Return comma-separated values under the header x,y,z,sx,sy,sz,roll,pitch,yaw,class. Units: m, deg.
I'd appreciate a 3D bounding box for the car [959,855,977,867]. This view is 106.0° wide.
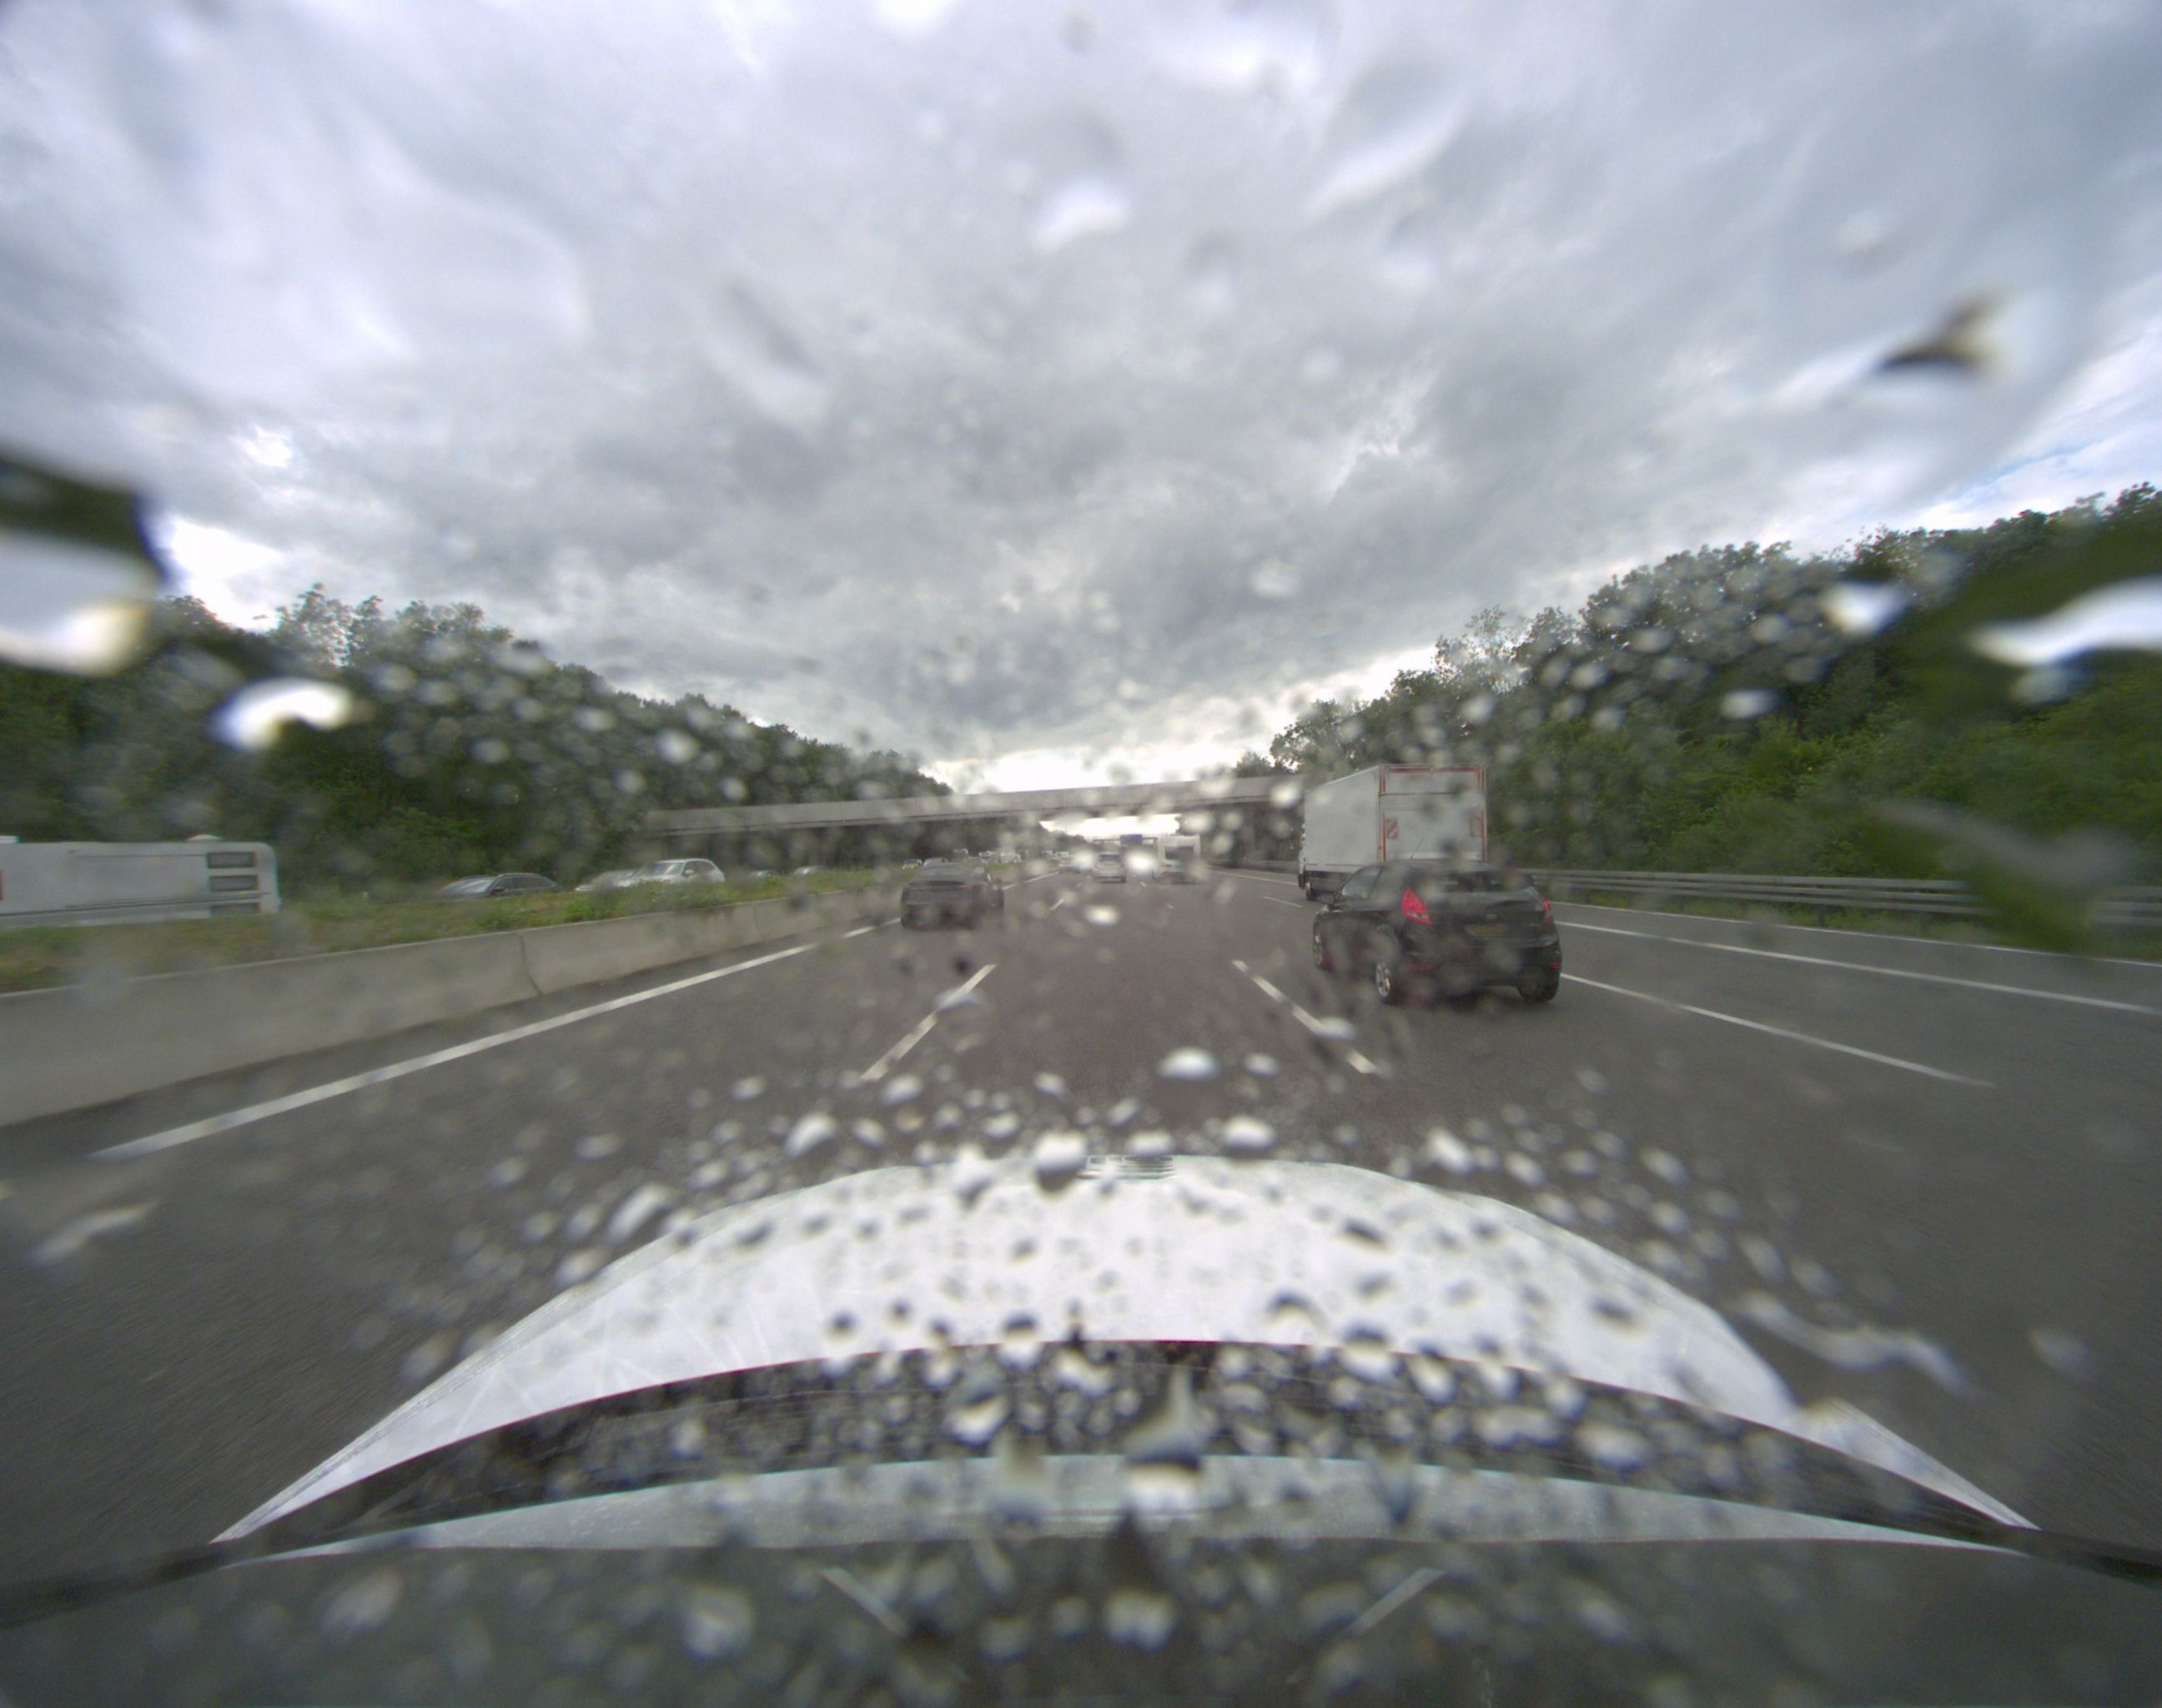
x,y,z,sx,sy,sz,roll,pitch,yaw,class
-18.739,1.159,135.033,2.212,1.952,4.830,-1,0,2,car

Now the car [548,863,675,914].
x,y,z,sx,sy,sz,roll,pitch,yaw,class
-20.273,1.429,35.463,2.596,1.952,4.830,-1,0,2,car

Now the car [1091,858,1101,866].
x,y,z,sx,sy,sz,roll,pitch,yaw,class
2.825,1.446,150.338,1.774,1.481,4.354,-1,0,1,car

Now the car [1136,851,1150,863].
x,y,z,sx,sy,sz,roll,pitch,yaw,class
10.491,0.508,138.480,2.036,1.823,4.906,-1,0,2,car

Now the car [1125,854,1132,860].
x,y,z,sx,sy,sz,roll,pitch,yaw,class
14.279,0.949,243.045,2.035,1.823,4.907,-1,0,3,car

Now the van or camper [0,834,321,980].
x,y,z,sx,sy,sz,roll,pitch,yaw,class
-21.208,0.996,17.134,2.595,2.707,8.128,-1,0,2,van or camper

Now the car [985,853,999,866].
x,y,z,sx,sy,sz,roll,pitch,yaw,class
-14.942,0.891,136.946,1.987,2.013,4.000,-1,0,0,car

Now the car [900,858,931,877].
x,y,z,sx,sy,sz,roll,pitch,yaw,class
-18.077,1.430,89.068,2.212,1.952,4.830,-1,0,2,car

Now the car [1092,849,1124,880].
x,y,z,sx,sy,sz,roll,pitch,yaw,class
1.611,0.602,48.219,1.774,1.716,4.355,-1,0,2,car

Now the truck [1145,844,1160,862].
x,y,z,sx,sy,sz,roll,pitch,yaw,class
15.800,-0.253,181.066,2.895,3.810,7.277,-1,0,2,truck

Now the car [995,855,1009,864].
x,y,z,sx,sy,sz,roll,pitch,yaw,class
-17.221,1.165,177.801,2.212,1.952,4.830,-1,0,2,car

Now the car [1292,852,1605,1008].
x,y,z,sx,sy,sz,roll,pitch,yaw,class
3.944,0.704,9.647,1.878,1.407,4.284,-1,0,2,car

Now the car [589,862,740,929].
x,y,z,sx,sy,sz,roll,pitch,yaw,class
-13.050,1.213,26.004,1.986,1.850,5.227,-1,0,2,car

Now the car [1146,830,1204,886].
x,y,z,sx,sy,sz,roll,pitch,yaw,class
5.178,0.204,46.102,2.558,2.895,7.535,-1,0,1,car

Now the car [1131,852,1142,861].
x,y,z,sx,sy,sz,roll,pitch,yaw,class
12.059,0.580,177.477,2.036,1.823,4.906,-1,0,2,car

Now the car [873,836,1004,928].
x,y,z,sx,sy,sz,roll,pitch,yaw,class
-3.089,0.562,18.848,1.986,1.821,5.164,-1,0,1,car

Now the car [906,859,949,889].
x,y,z,sx,sy,sz,roll,pitch,yaw,class
-11.058,1.432,58.955,2.036,2.013,4.790,-1,0,2,car

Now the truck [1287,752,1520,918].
x,y,z,sx,sy,sz,roll,pitch,yaw,class
8.556,-0.428,23.430,3.121,3.709,9.853,-1,0,2,truck

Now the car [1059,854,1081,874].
x,y,z,sx,sy,sz,roll,pitch,yaw,class
-0.983,0.880,75.225,1.808,1.689,4.854,-1,0,2,car
